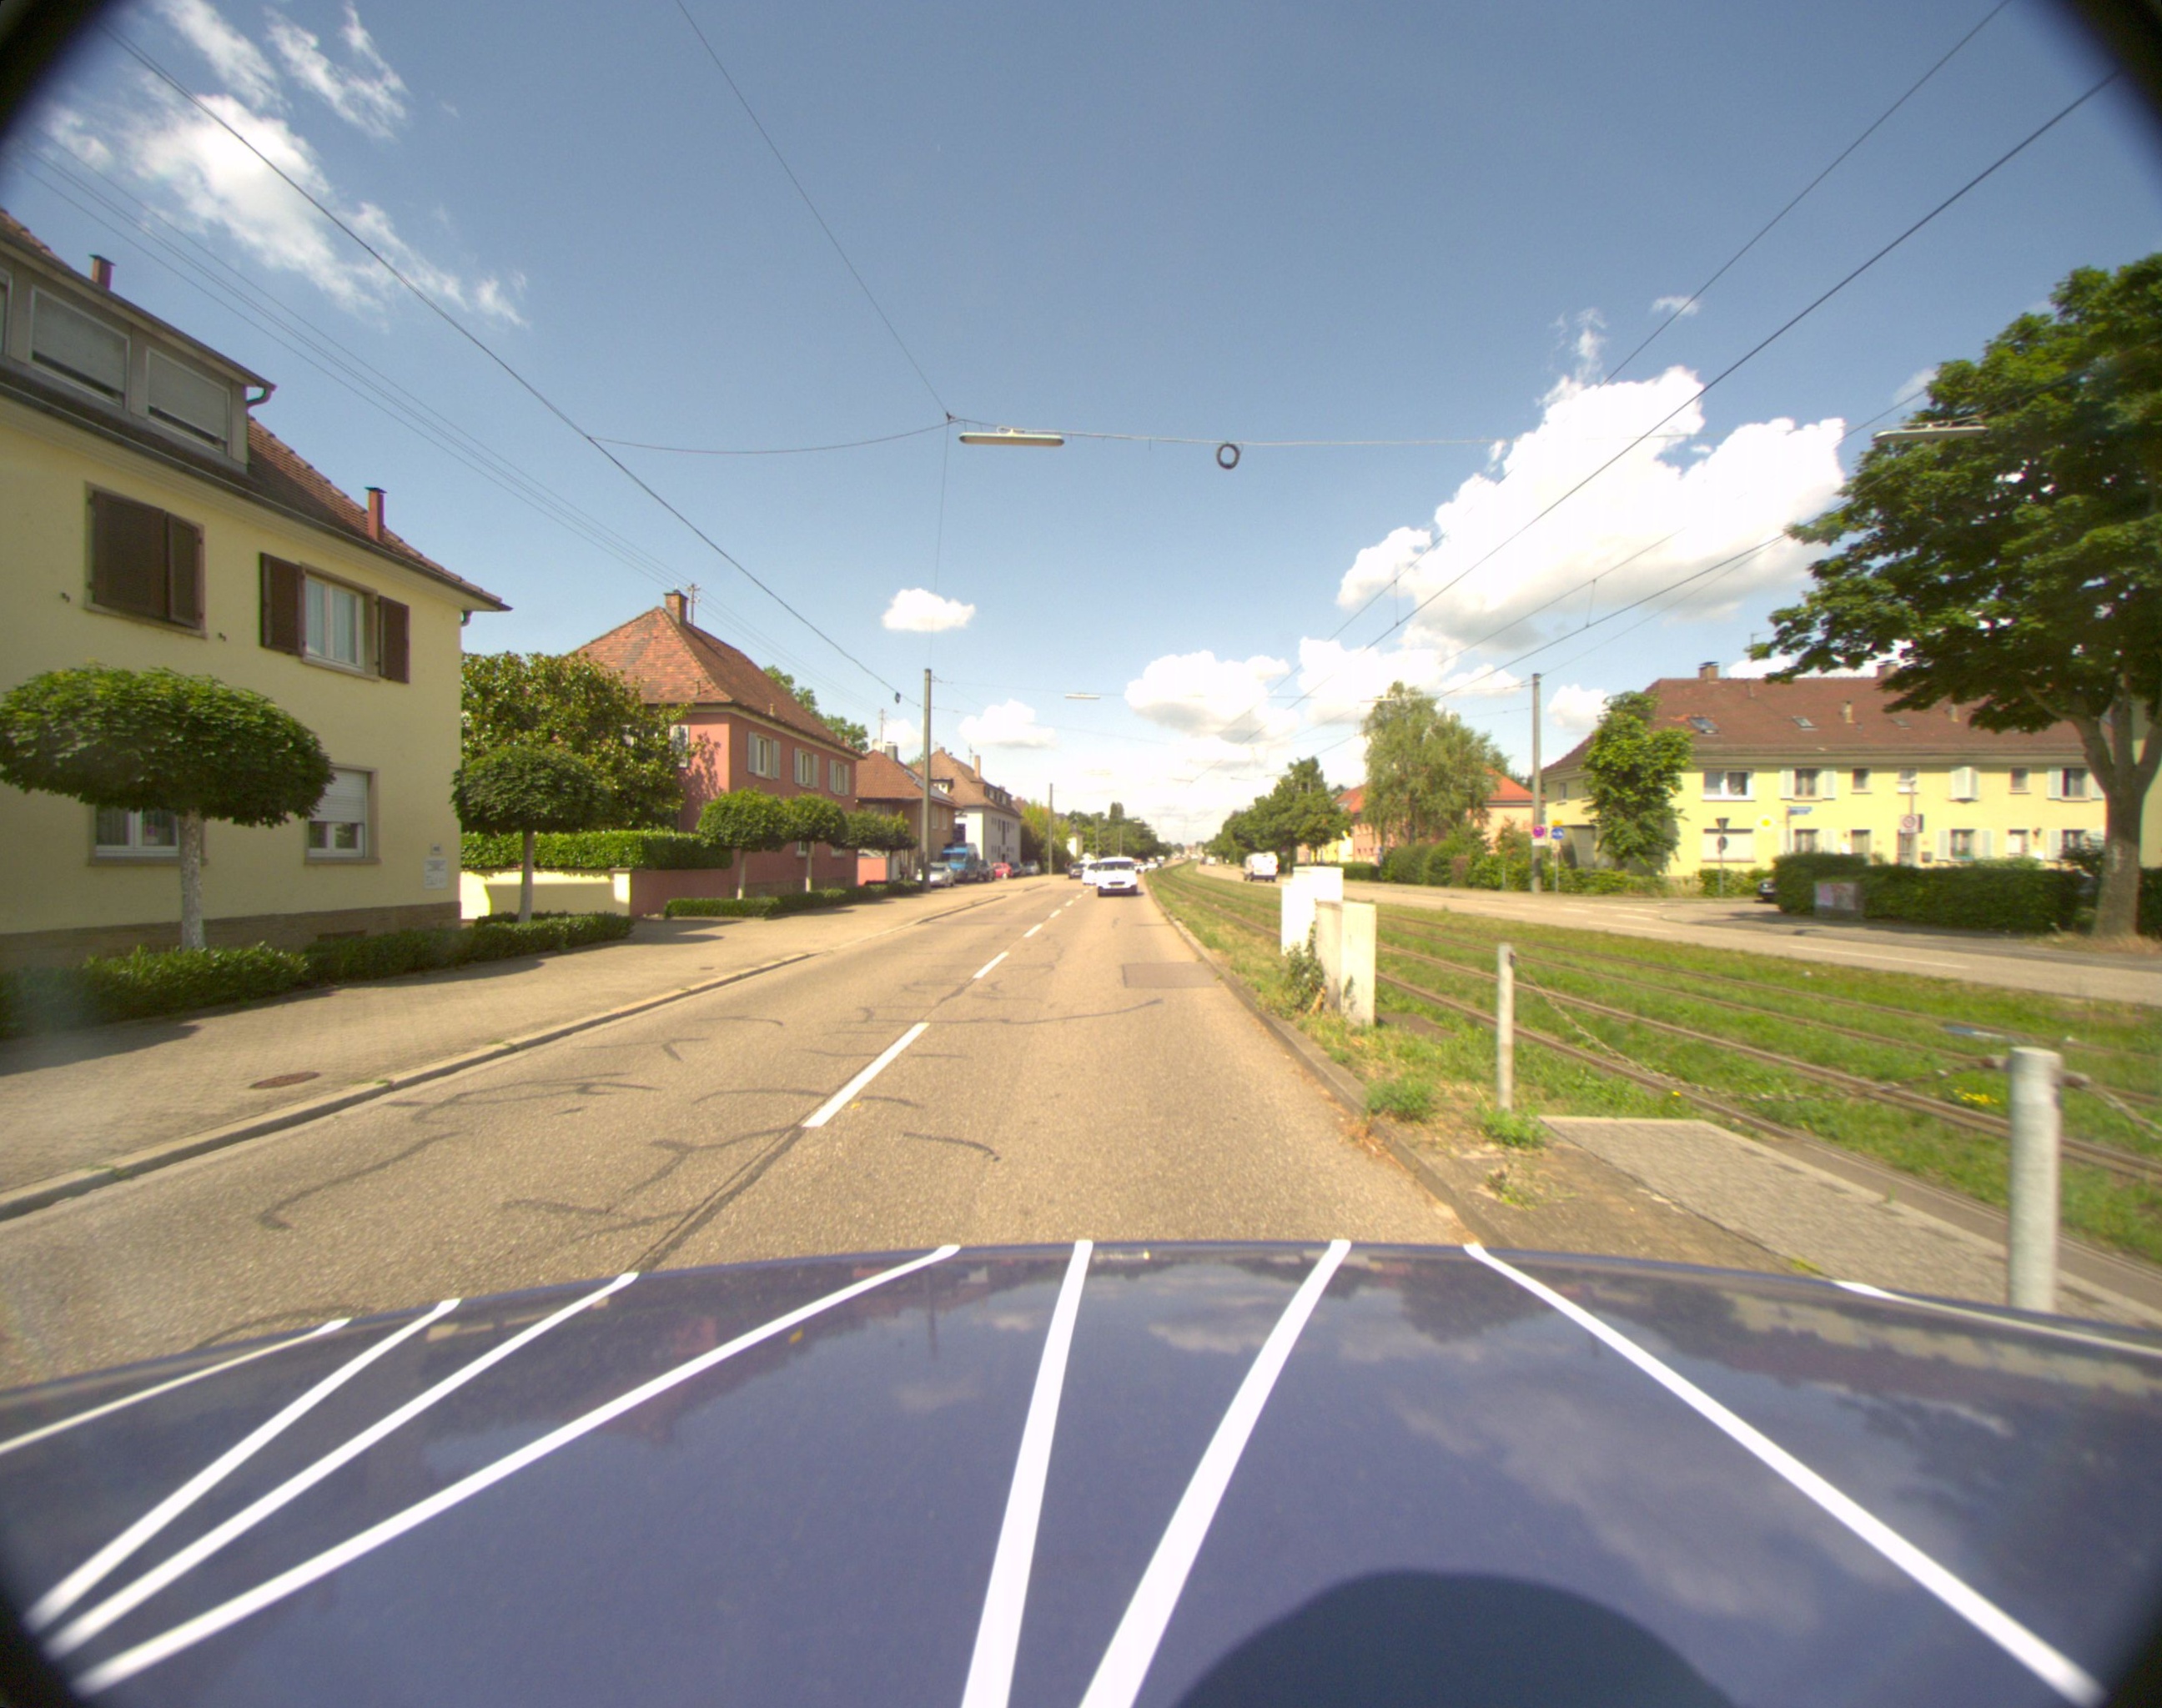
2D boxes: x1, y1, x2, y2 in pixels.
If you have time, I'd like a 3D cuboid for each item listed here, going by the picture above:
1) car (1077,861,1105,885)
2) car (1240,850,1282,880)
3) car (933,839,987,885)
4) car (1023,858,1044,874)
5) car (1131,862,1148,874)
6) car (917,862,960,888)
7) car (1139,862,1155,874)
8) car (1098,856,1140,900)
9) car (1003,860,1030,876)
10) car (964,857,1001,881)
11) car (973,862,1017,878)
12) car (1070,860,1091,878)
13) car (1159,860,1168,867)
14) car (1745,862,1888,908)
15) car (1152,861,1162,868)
[{"bbox_3d":[0.718,1.314,52.872,1.777,1.540,4.001,-2,0,3],"label":"car"},{"bbox_3d":[15.006,0.842,63.685,2.202,2.358,5.332,1,0,0],"label":"car"},{"bbox_3d":[-8.131,0.530,51.858,2.156,2.913,6.246,-1,0,5],"label":"car"},{"bbox_3d":[-5.243,1.331,83.996,1.761,1.637,4.770,1,0,3],"label":"car"},{"bbox_3d":[7.550,1.803,97.957,1.997,1.477,4.002,-1,0,7],"label":"car"},{"bbox_3d":[-8.372,1.215,44.960,1.653,1.401,4.350,1,0,0],"label":"car"},{"bbox_3d":[9.502,2.004,109.607,1.997,1.576,4.002,-1,0,8],"label":"car"},{"bbox_3d":[1.779,1.050,35.093,1.777,1.850,4.376,-1,0,3],"label":"car"},{"bbox_3d":[-6.212,1.357,74.074,1.802,1.415,4.859,1,0,5],"label":"car"},{"bbox_3d":[-7.450,1.125,58.078,1.840,1.701,4.866,2,0,4],"label":"car"},{"bbox_3d":[-7.701,1.414,68.391,3.657,1.372,1.727,0,1,3],"label":"car"},{"bbox_3d":[-0.029,1.447,73.910,1.811,1.550,4.254,-1,0,3],"label":"car"},{"bbox_3d":[18.865,2.110,174.394,1.997,1.477,4.002,-1,0,7],"label":"car"},{"bbox_3d":[28.708,1.180,29.736,3.750,1.676,1.824,1,0,2],"label":"car"},{"bbox_3d":[15.750,2.198,158.035,1.997,1.477,4.002,-1,0,7],"label":"car"}]
